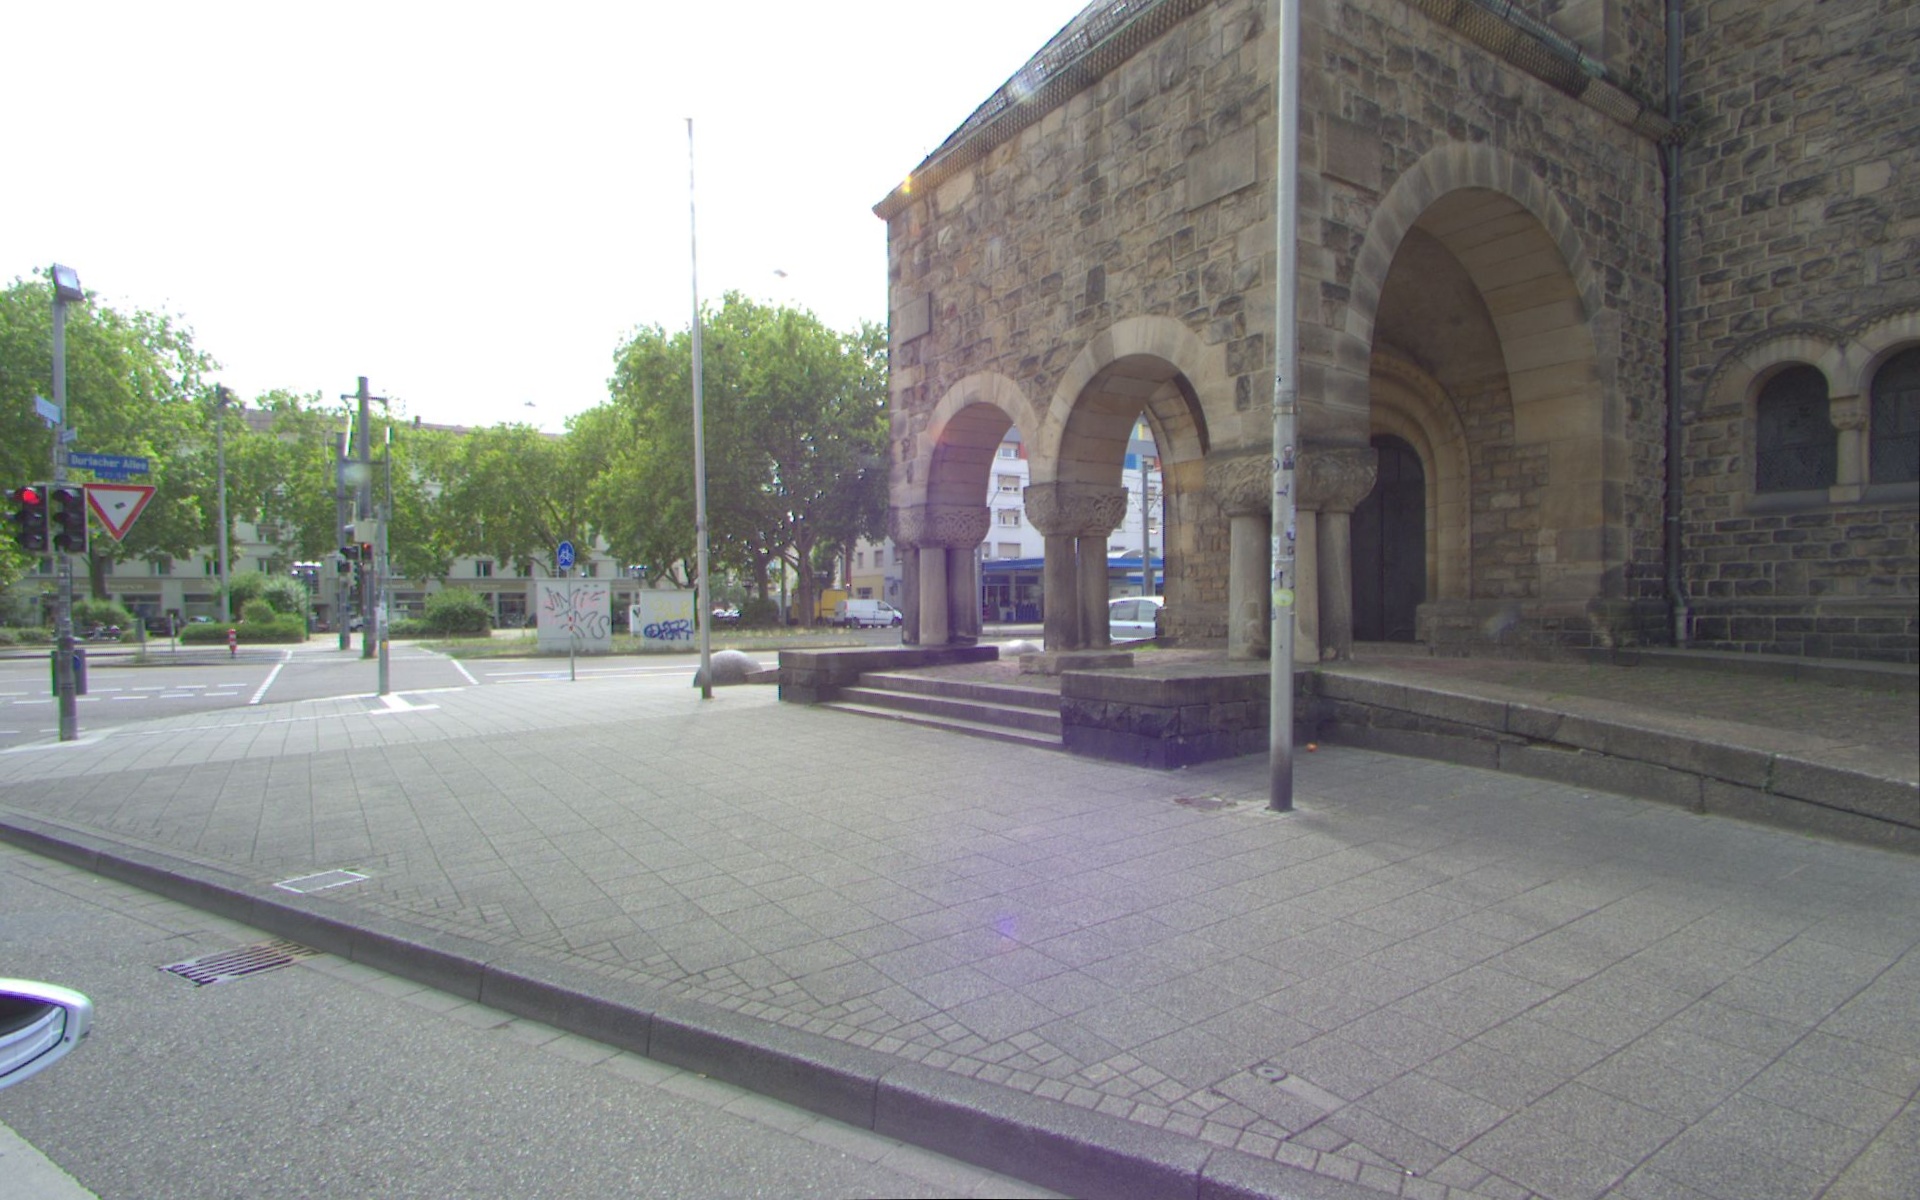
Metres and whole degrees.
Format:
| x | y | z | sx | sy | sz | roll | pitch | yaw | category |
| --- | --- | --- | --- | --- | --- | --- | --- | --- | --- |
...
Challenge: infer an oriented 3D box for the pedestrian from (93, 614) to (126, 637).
| x | y | z | sx | sy | sz | roll | pitch | yaw | category |
| --- | --- | --- | --- | --- | --- | --- | --- | --- | --- |
| -48.037 | 1.441 | 56.579 | 1.422 | 1.252 | 1.087 | -1 | 1 | 37 | pedestrian |

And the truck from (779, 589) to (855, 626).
| x | y | z | sx | sy | sz | roll | pitch | yaw | category |
| --- | --- | --- | --- | --- | --- | --- | --- | --- | --- |
| -10.610 | 0.550 | 73.841 | 3.040 | 2.612 | 6.468 | -1 | 0 | -34 | truck |

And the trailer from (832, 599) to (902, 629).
| x | y | z | sx | sy | sz | roll | pitch | yaw | category |
| --- | --- | --- | --- | --- | --- | --- | --- | --- | --- |
| -6.273 | 0.901 | 67.614 | 4.377 | 1.951 | 1.843 | 0 | 0 | -33 | trailer |

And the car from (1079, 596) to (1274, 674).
| x | y | z | sx | sy | sz | roll | pitch | yaw | category |
| --- | --- | --- | --- | --- | --- | --- | --- | --- | --- |
| 4.687 | 0.716 | 22.166 | 1.992 | 1.563 | 4.002 | 0 | 0 | -33 | car |

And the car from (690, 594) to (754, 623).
| x | y | z | sx | sy | sz | roll | pitch | yaw | category |
| --- | --- | --- | --- | --- | --- | --- | --- | --- | --- |
| -21.996 | 0.781 | 92.676 | 5.269 | 2.618 | 2.482 | 0 | -1 | -36 | car |

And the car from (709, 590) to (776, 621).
| x | y | z | sx | sy | sz | roll | pitch | yaw | category |
| --- | --- | --- | --- | --- | --- | --- | --- | --- | --- |
| -19.199 | 0.497 | 88.409 | 5.269 | 2.618 | 2.482 | 0 | -1 | -36 | car |

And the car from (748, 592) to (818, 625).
| x | y | z | sx | sy | sz | roll | pitch | yaw | category |
| --- | --- | --- | --- | --- | --- | --- | --- | --- | --- |
| -14.611 | 0.731 | 82.930 | 5.269 | 2.618 | 2.165 | 0 | -1 | -36 | car |

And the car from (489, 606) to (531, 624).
| x | y | z | sx | sy | sz | roll | pitch | yaw | category |
| --- | --- | --- | --- | --- | --- | --- | --- | --- | --- |
| -39.378 | 1.308 | 87.612 | 3.949 | 1.523 | 1.760 | -1 | 0 | 37 | car |

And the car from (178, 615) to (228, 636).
| x | y | z | sx | sy | sz | roll | pitch | yaw | category |
| --- | --- | --- | --- | --- | --- | --- | --- | --- | --- |
| -56.962 | 1.926 | 75.332 | 3.949 | 1.523 | 1.986 | -1 | 0 | 37 | car |

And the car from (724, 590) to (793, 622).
| x | y | z | sx | sy | sz | roll | pitch | yaw | category |
| --- | --- | --- | --- | --- | --- | --- | --- | --- | --- |
| -17.296 | 0.494 | 86.180 | 5.269 | 2.618 | 2.482 | 0 | -1 | -36 | car |

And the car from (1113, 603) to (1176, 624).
| x | y | z | sx | sy | sz | roll | pitch | yaw | category |
| --- | --- | --- | --- | --- | --- | --- | --- | --- | --- |
| 14.041 | 1.040 | 76.121 | 4.554 | 1.535 | 1.985 | 0 | -1 | -31 | car |

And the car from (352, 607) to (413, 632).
| x | y | z | sx | sy | sz | roll | pitch | yaw | category |
| --- | --- | --- | --- | --- | --- | --- | --- | --- | --- |
| -44.536 | 1.490 | 77.278 | 3.946 | 1.908 | 1.846 | -1 | 0 | -34 | car |
